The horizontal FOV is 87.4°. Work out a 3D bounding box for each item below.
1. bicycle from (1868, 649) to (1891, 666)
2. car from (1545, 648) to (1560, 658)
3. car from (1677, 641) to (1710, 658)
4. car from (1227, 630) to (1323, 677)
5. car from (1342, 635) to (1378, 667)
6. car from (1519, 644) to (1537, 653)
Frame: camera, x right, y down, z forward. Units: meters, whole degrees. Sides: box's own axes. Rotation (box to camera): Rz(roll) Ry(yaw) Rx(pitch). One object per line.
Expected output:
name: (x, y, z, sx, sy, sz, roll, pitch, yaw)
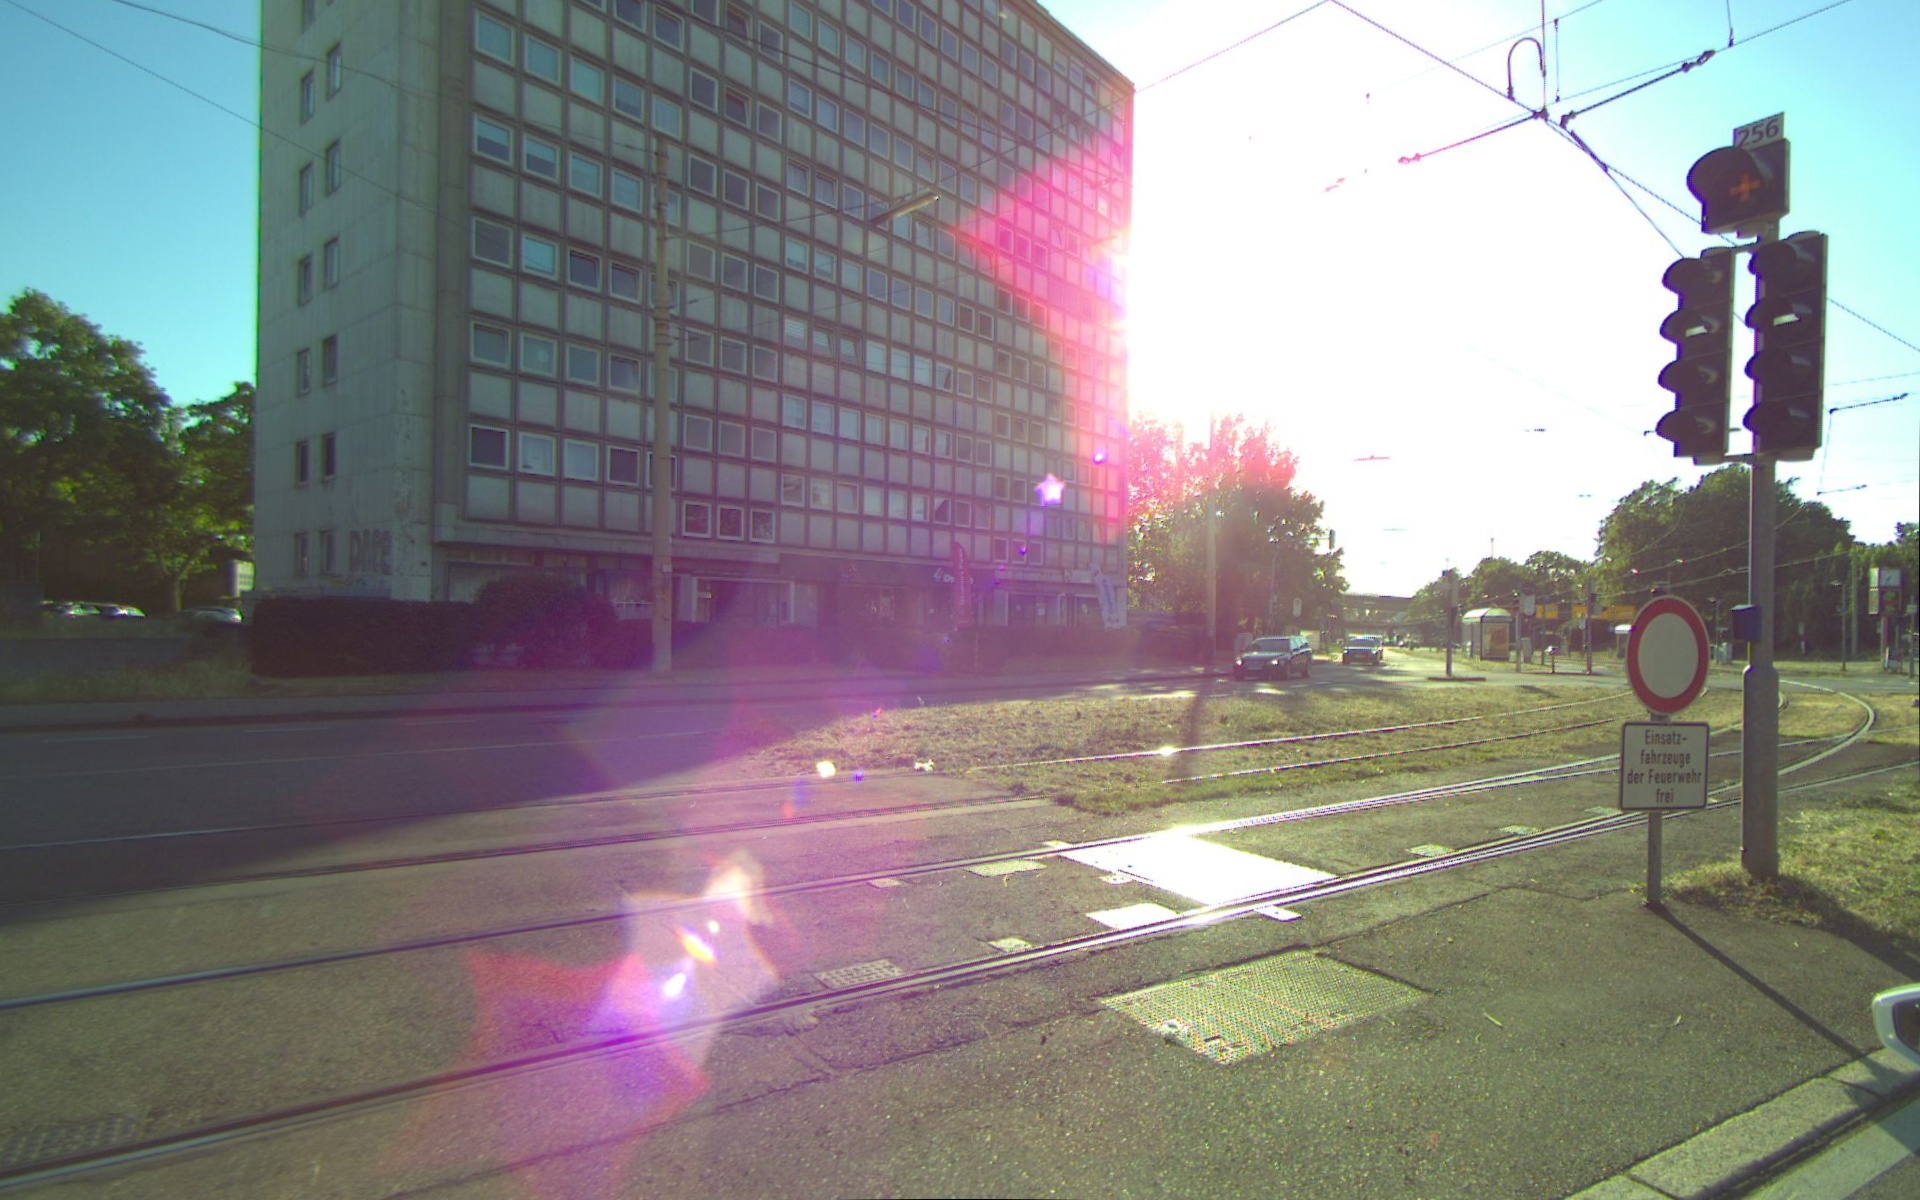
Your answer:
bicycle: (49.504, 3.094, 54.060, 1.726, 0.930, 0.549, 2, -3, -36)
car: (91.465, 8.151, 155.107, 1.490, 1.406, 3.362, 1, 0, 21)
car: (65.933, 4.408, 90.384, 1.745, 1.441, 3.852, 0, -2, 26)
car: (10.755, 1.806, 34.124, 1.754, 1.501, 4.384, -3, -4, 36)
car: (21.644, 2.741, 54.314, 1.625, 1.617, 4.584, 1, -2, 24)
car: (97.199, 8.295, 171.869, 2.004, 1.465, 4.000, 0, -1, 20)
